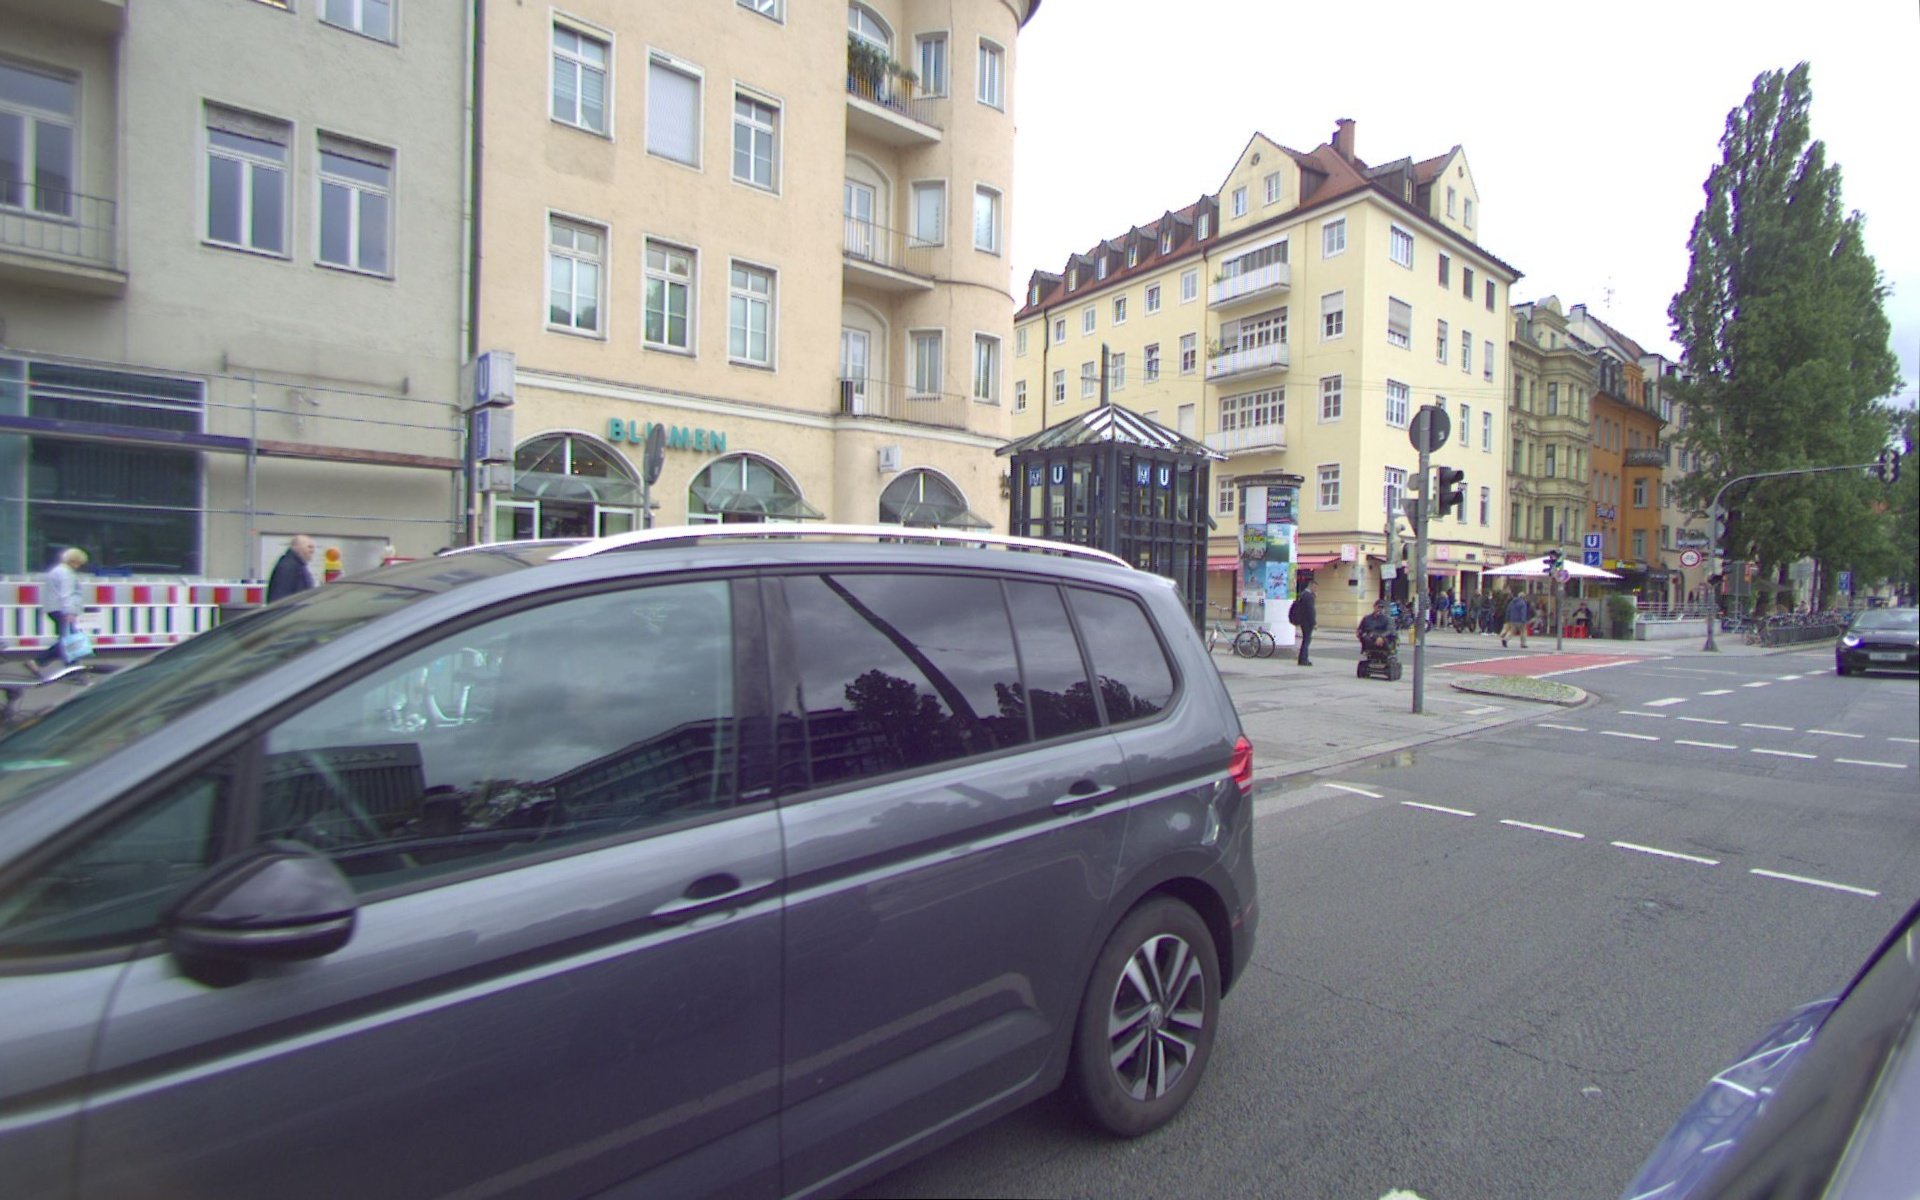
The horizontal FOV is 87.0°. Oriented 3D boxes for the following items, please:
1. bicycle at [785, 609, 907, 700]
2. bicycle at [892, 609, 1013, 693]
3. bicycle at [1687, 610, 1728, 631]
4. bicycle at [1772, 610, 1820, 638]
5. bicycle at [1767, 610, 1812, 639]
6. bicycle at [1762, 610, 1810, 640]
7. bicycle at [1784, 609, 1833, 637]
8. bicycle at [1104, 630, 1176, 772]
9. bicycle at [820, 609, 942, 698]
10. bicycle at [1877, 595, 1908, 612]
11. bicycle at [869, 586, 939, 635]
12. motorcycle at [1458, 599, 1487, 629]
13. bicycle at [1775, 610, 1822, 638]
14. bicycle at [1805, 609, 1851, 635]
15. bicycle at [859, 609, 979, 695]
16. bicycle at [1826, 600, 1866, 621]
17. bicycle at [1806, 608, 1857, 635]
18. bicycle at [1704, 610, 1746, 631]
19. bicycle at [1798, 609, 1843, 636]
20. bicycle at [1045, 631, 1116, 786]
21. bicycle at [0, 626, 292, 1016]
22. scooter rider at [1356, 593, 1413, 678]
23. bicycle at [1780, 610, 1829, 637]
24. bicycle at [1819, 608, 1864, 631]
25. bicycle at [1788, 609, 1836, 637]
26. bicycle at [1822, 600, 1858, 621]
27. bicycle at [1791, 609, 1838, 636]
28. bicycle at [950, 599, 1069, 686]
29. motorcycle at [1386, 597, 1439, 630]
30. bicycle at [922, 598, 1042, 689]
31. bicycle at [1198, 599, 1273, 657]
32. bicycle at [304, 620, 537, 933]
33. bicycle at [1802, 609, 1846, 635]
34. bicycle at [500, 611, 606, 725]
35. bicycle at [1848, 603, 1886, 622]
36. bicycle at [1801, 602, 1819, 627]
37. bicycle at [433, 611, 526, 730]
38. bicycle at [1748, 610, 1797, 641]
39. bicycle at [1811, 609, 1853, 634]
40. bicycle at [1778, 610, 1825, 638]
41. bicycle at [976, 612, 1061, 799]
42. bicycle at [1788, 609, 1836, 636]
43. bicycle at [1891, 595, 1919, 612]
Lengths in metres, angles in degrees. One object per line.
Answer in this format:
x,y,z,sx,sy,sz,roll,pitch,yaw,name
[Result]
-1.440,0.639,12.515,0.500,0.976,1.840,1,1,-42,bicycle
-0.133,0.643,13.533,0.500,0.976,1.840,1,1,-42,bicycle
39.839,1.064,53.940,0.380,1.059,1.730,2,-1,-30,bicycle
32.638,0.927,39.548,0.341,1.008,1.842,2,2,2,bicycle
32.149,0.926,39.260,0.342,1.008,1.840,2,2,5,bicycle
31.125,0.921,38.180,0.341,1.008,1.841,2,2,3,bicycle
34.639,0.936,41.342,0.341,1.008,1.843,1,2,-2,bicycle
1.541,0.824,8.832,0.491,1.041,1.599,1,1,6,bicycle
-1.032,0.640,12.842,0.500,0.976,1.840,1,1,-42,bicycle
65.201,0.220,70.749,0.352,1.116,1.748,1,1,-7,bicycle
-1.316,0.245,24.156,0.494,1.103,1.837,2,1,42,bicycle
20.389,0.560,40.266,1.544,1.171,0.487,0,1,-41,motorcycle
33.154,0.930,40.028,0.341,1.008,1.842,2,2,2,bicycle
38.224,0.954,44.586,0.341,1.008,1.843,1,2,-2,bicycle
-0.567,0.642,13.236,0.500,0.976,1.840,1,1,-42,bicycle
43.491,0.529,49.699,0.319,1.008,1.841,2,0,1,bicycle
39.247,0.946,45.619,0.457,1.126,1.845,2,1,-9,bicycle
39.811,1.054,52.680,1.722,1.059,0.381,1,-1,43,bicycle
36.721,0.947,43.210,0.341,1.008,1.841,2,2,2,bicycle
0.964,0.819,8.214,0.491,1.041,1.599,1,1,6,bicycle
-3.477,0.735,3.978,0.639,1.172,1.807,1,1,-6,bicycle
7.323,0.599,17.473,0.701,1.406,0.633,2,1,43,scooter rider
34.139,0.934,40.921,0.341,1.008,1.843,1,2,-2,bicycle
41.084,0.899,47.196,0.319,1.008,1.843,2,0,-5,bicycle
35.138,0.938,41.775,0.341,1.008,1.843,1,2,-2,bicycle
43.157,0.531,49.651,0.319,1.008,1.839,1,-1,6,bicycle
36.143,0.943,42.812,0.341,1.008,1.843,1,2,-2,bicycle
0.672,0.567,14.343,0.500,1.108,1.840,1,1,-42,bicycle
17.123,0.500,38.338,1.744,1.215,0.539,1,1,20,motorcycle
0.272,0.565,13.955,0.500,1.108,1.840,1,1,-42,bicycle
6.115,0.615,22.543,0.515,1.174,1.573,3,1,-38,bicycle
-2.539,0.728,4.962,0.477,1.172,1.808,1,1,-11,bicycle
37.263,0.949,43.661,0.341,1.008,1.841,2,2,2,bicycle
-4.112,0.636,10.152,0.445,0.976,1.758,1,1,-40,bicycle
48.268,0.647,53.864,0.368,1.008,1.841,2,0,0,bicycle
45.318,0.749,53.944,1.747,1.304,0.424,0,1,-41,bicycle
-4.643,0.628,9.727,0.363,0.976,1.758,1,1,-40,bicycle
29.467,0.910,36.740,0.341,1.008,1.841,2,2,3,bicycle
38.818,0.956,45.062,0.319,1.008,1.841,2,1,3,bicycle
33.640,0.932,40.465,0.341,1.008,1.842,2,2,2,bicycle
0.429,0.733,7.843,0.549,1.213,1.804,1,1,2,bicycle
35.666,0.941,42.379,0.341,1.008,1.843,1,2,-2,bicycle
66.008,0.248,70.717,0.353,1.116,1.743,1,1,4,bicycle
